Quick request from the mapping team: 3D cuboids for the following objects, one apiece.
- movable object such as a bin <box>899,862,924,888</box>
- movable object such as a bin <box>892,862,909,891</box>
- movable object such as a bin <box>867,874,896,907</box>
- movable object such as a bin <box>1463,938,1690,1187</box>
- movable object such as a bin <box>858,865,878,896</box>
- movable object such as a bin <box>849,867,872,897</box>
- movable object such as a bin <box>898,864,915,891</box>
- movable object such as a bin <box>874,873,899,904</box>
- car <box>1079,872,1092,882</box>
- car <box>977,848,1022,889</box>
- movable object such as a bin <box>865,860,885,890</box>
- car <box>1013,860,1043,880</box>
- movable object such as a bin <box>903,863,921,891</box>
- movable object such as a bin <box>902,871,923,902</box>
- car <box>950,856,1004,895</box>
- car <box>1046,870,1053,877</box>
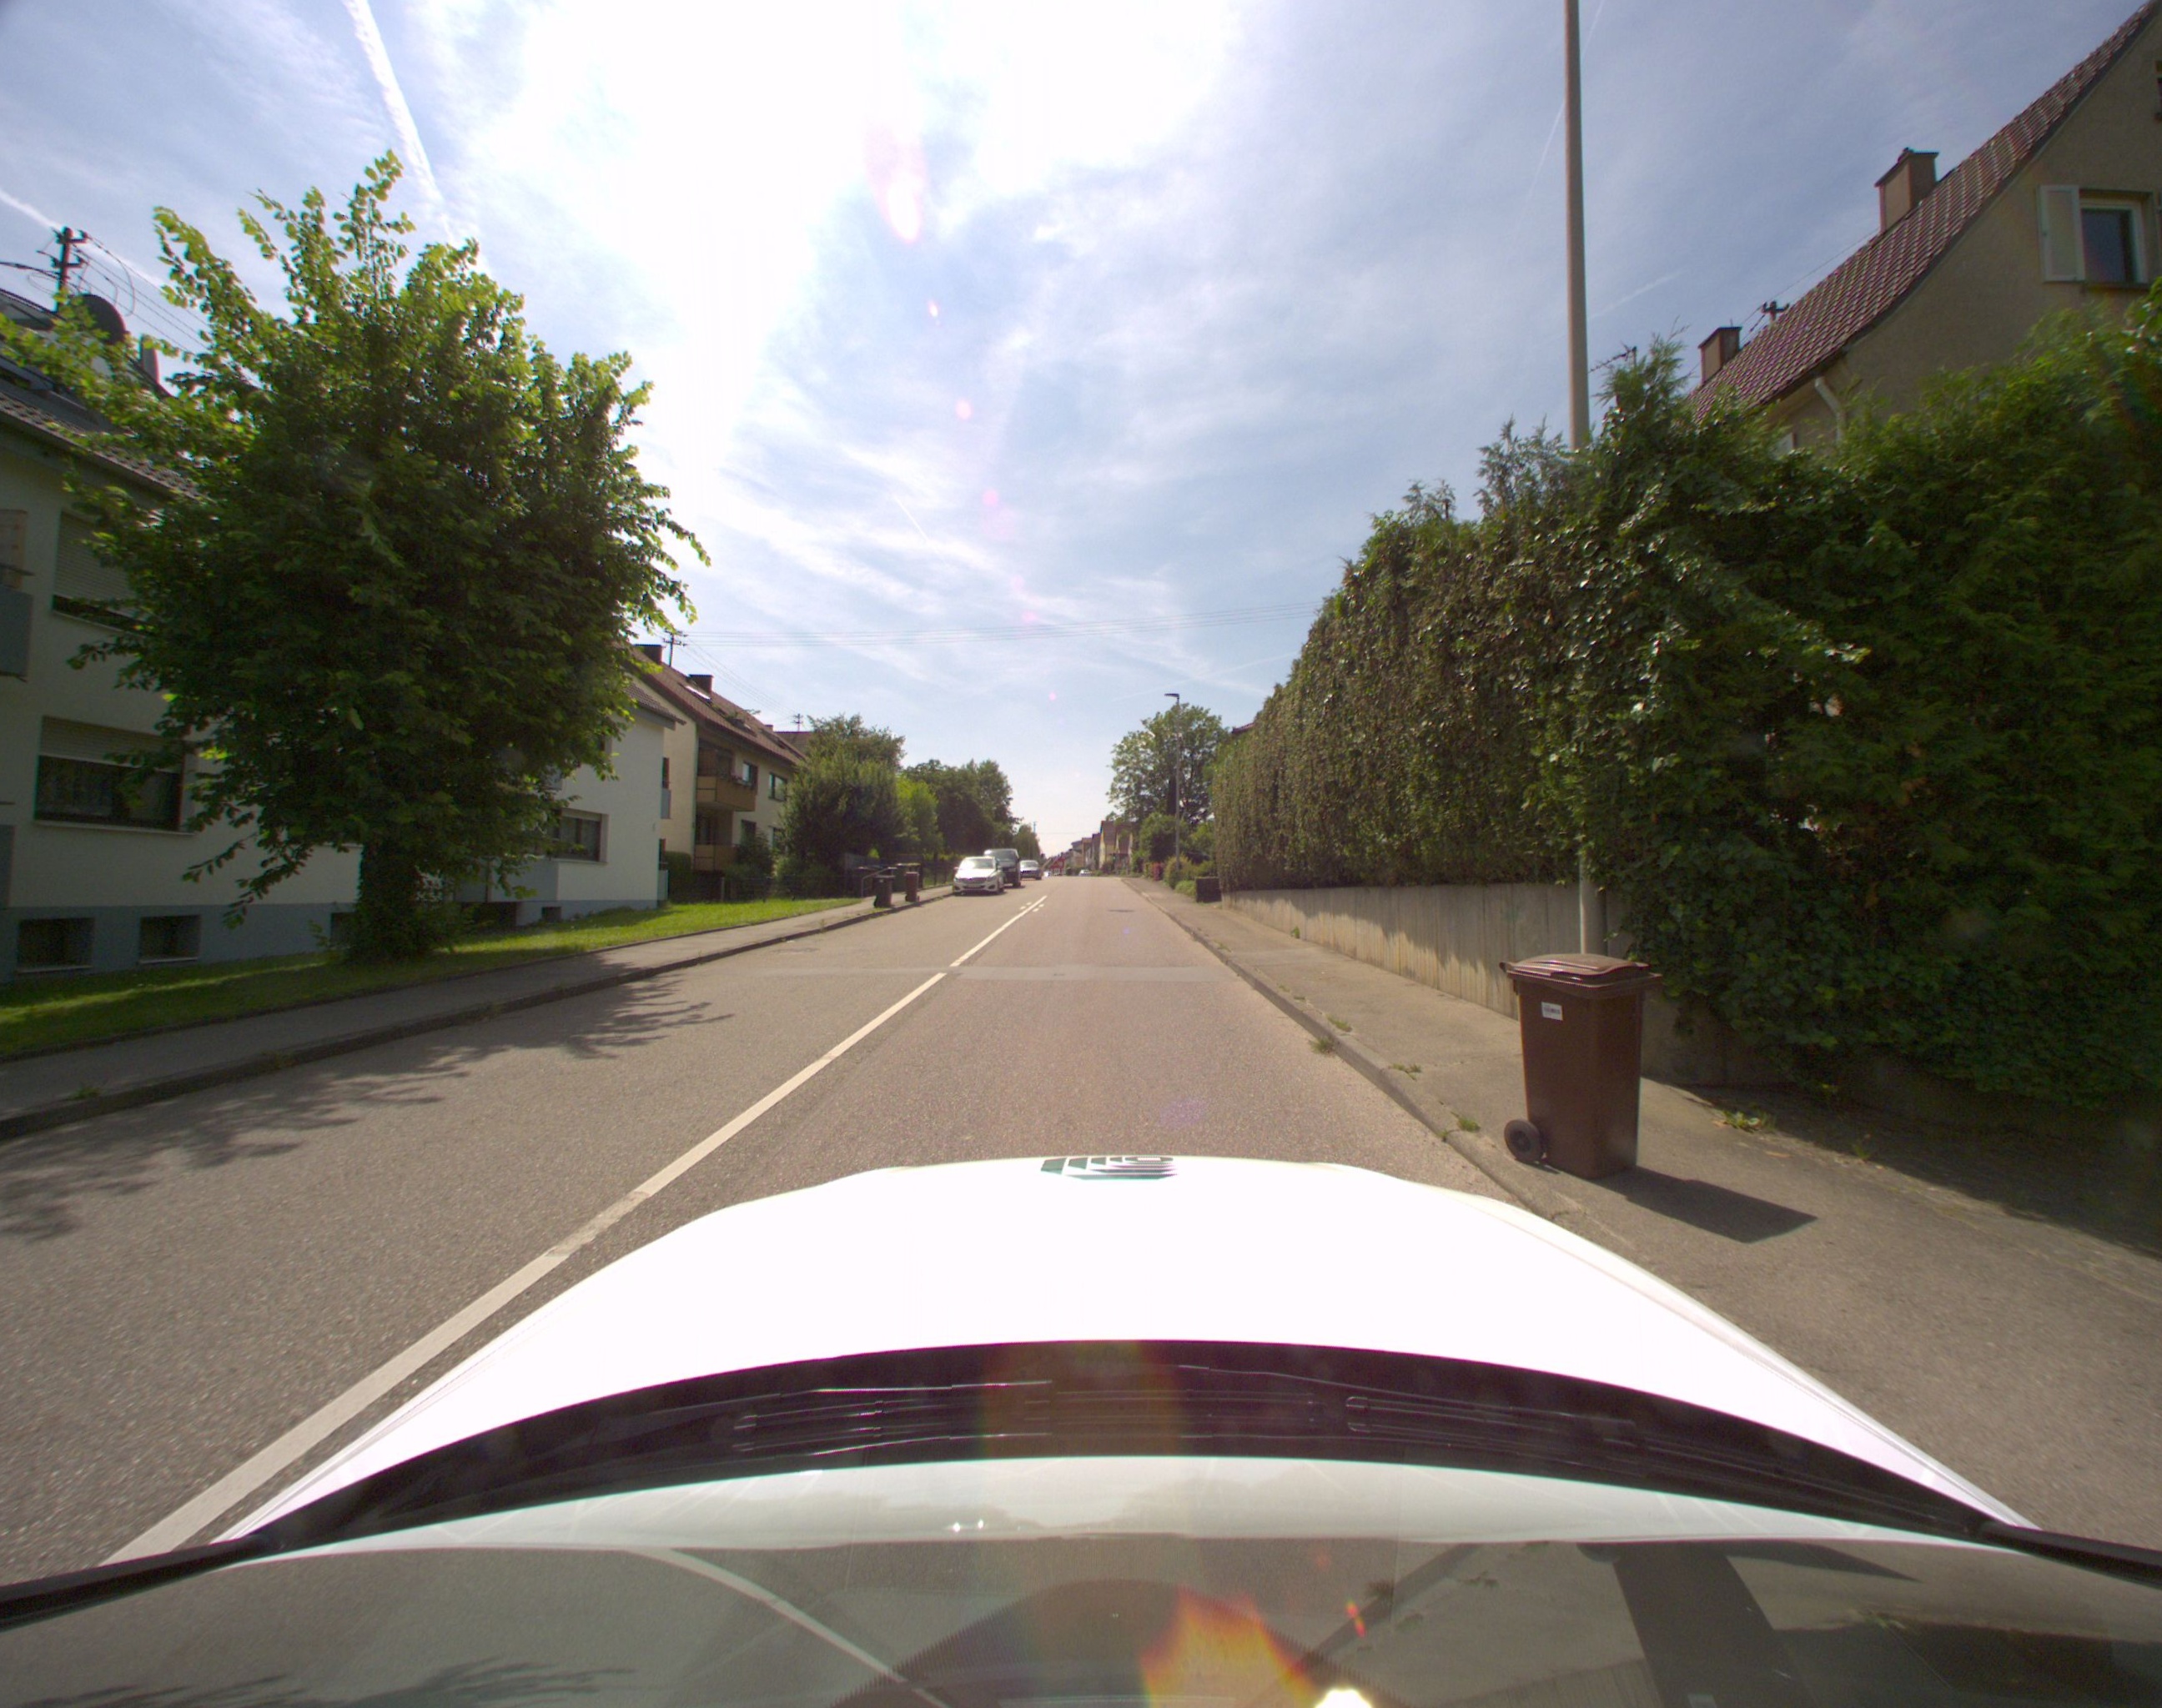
[{"bbox_3d":[-7.199,0.897,34.632,0.896,1.070,0.695,-1,-1,0],"label":"movable object such as a bin"},{"bbox_3d":[-7.058,0.860,31.828,0.515,1.104,0.529,-1,-1,0],"label":"movable object such as a bin"},{"bbox_3d":[-5.788,1.062,23.635,0.616,0.917,0.687,-1,-1,7],"label":"movable object such as a bin"},{"bbox_3d":[2.333,0.945,3.927,0.586,0.978,0.786,-2,-1,0],"label":"movable object such as a bin"},{"bbox_3d":[-8.170,1.001,31.283,0.544,1.178,0.675,0,-1,6],"label":"movable object such as a bin"},{"bbox_3d":[-8.249,1.046,30.482,0.599,1.096,0.651,0,-1,7],"label":"movable object such as a bin"},{"bbox_3d":[-6.945,0.932,32.458,0.453,1.044,0.561,-2,-2,7],"label":"movable object such as a bin"},{"bbox_3d":[-5.918,1.033,24.810,0.560,0.917,0.644,-1,-1,7],"label":"movable object such as a bin"},{"bbox_3d":[0.697,3.787,133.556,1.987,1.603,3.999,0,-1,0],"label":"car"},{"bbox_3d":[-4.077,0.704,41.400,1.891,1.920,4.867,-1,0,-2],"label":"car"},{"bbox_3d":[-8.104,0.825,32.072,0.474,1.178,0.841,0,-1,6],"label":"movable object such as a bin"},{"bbox_3d":[-3.763,1.144,58.086,1.774,1.394,4.409,-1,-1,1],"label":"car"},{"bbox_3d":[-6.899,0.946,33.232,0.494,1.105,0.711,-2,-2,7],"label":"movable object such as a bin"},{"bbox_3d":[-5.443,1.055,26.310,0.503,0.988,0.564,-1,-1,7],"label":"movable object such as a bin"},{"bbox_3d":[-4.271,0.847,34.110,1.806,1.549,4.240,0,0,-1],"label":"car"},{"bbox_3d":[-7.022,4.413,181.665,1.531,1.542,4.298,0,-1,-4],"label":"car"}]
